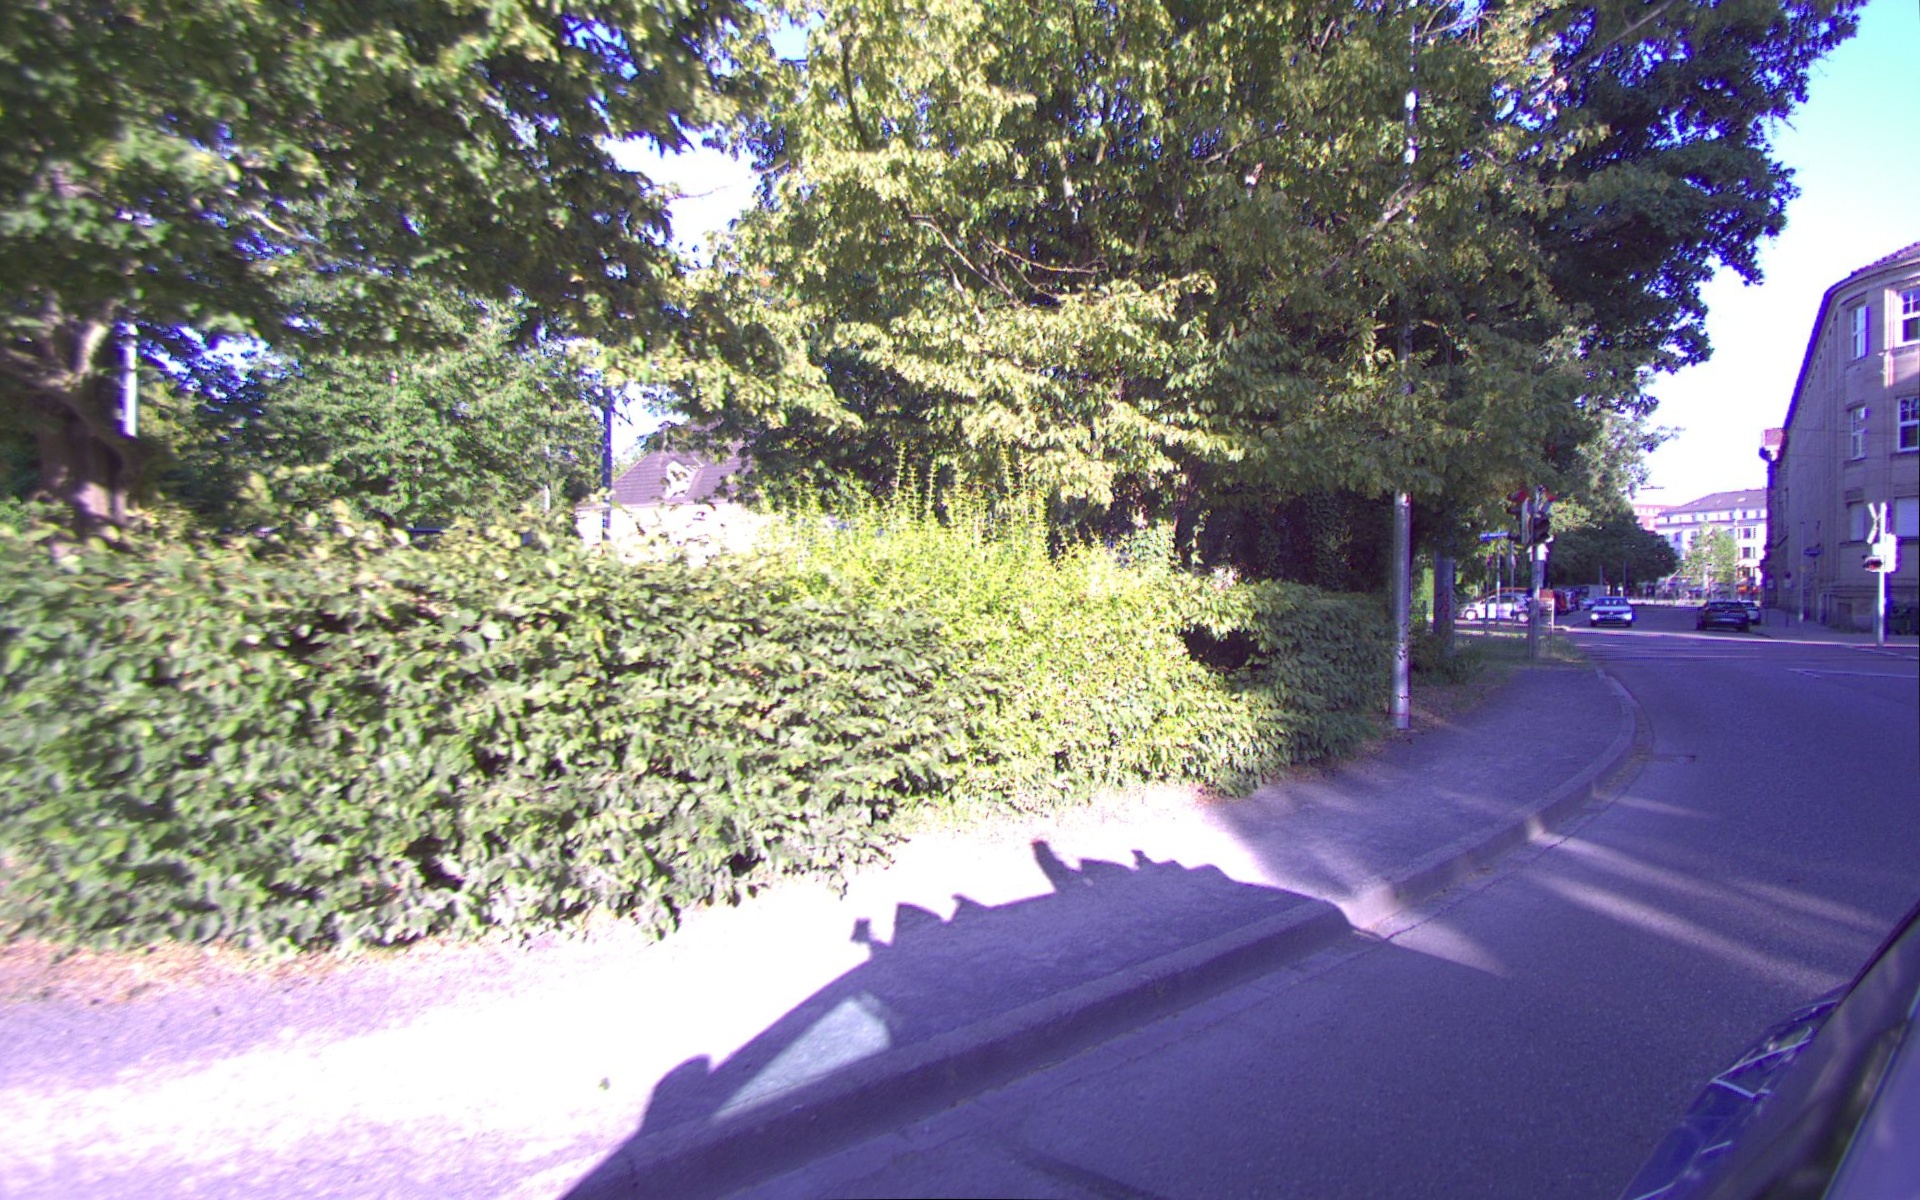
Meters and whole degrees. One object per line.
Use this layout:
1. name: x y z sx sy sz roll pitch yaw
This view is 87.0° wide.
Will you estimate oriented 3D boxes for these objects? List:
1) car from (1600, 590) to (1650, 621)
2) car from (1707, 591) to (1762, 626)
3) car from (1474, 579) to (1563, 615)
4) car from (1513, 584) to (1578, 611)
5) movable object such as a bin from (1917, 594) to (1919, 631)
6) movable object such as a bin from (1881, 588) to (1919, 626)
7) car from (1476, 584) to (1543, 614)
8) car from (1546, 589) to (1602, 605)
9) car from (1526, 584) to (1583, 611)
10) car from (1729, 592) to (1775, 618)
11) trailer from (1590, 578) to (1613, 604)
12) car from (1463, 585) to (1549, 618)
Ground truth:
1. car: 33.926 0.251 51.594 1.681 1.471 4.044 1 1 40
2. car: 35.082 0.350 45.919 1.738 1.466 4.156 1 1 35
3. car: 35.313 -0.242 63.996 4.776 2.022 2.057 3 2 32
4. car: 44.913 -0.224 77.652 3.968 1.886 1.891 3 2 41
5. movable object such as a bin: 38.685 0.487 40.010 1.183 1.446 1.891 1 0 44
6. movable object such as a bin: 38.493 0.290 41.383 1.146 1.504 1.601 1 0 44
7. car: 33.648 -0.091 61.992 3.388 1.651 1.658 3 2 36
8. car: 58.940 -0.295 97.226 4.424 1.485 1.687 1 1 39
9. car: 46.647 -0.222 79.412 3.597 1.907 1.758 3 2 40
10. car: 46.140 0.288 59.041 1.737 1.453 4.506 -1 0 34
11. trailer: 66.431 -0.925 104.721 1.594 2.673 3.651 1 1 39
12. car: 29.704 0.044 55.111 3.971 1.566 1.715 3 2 32
